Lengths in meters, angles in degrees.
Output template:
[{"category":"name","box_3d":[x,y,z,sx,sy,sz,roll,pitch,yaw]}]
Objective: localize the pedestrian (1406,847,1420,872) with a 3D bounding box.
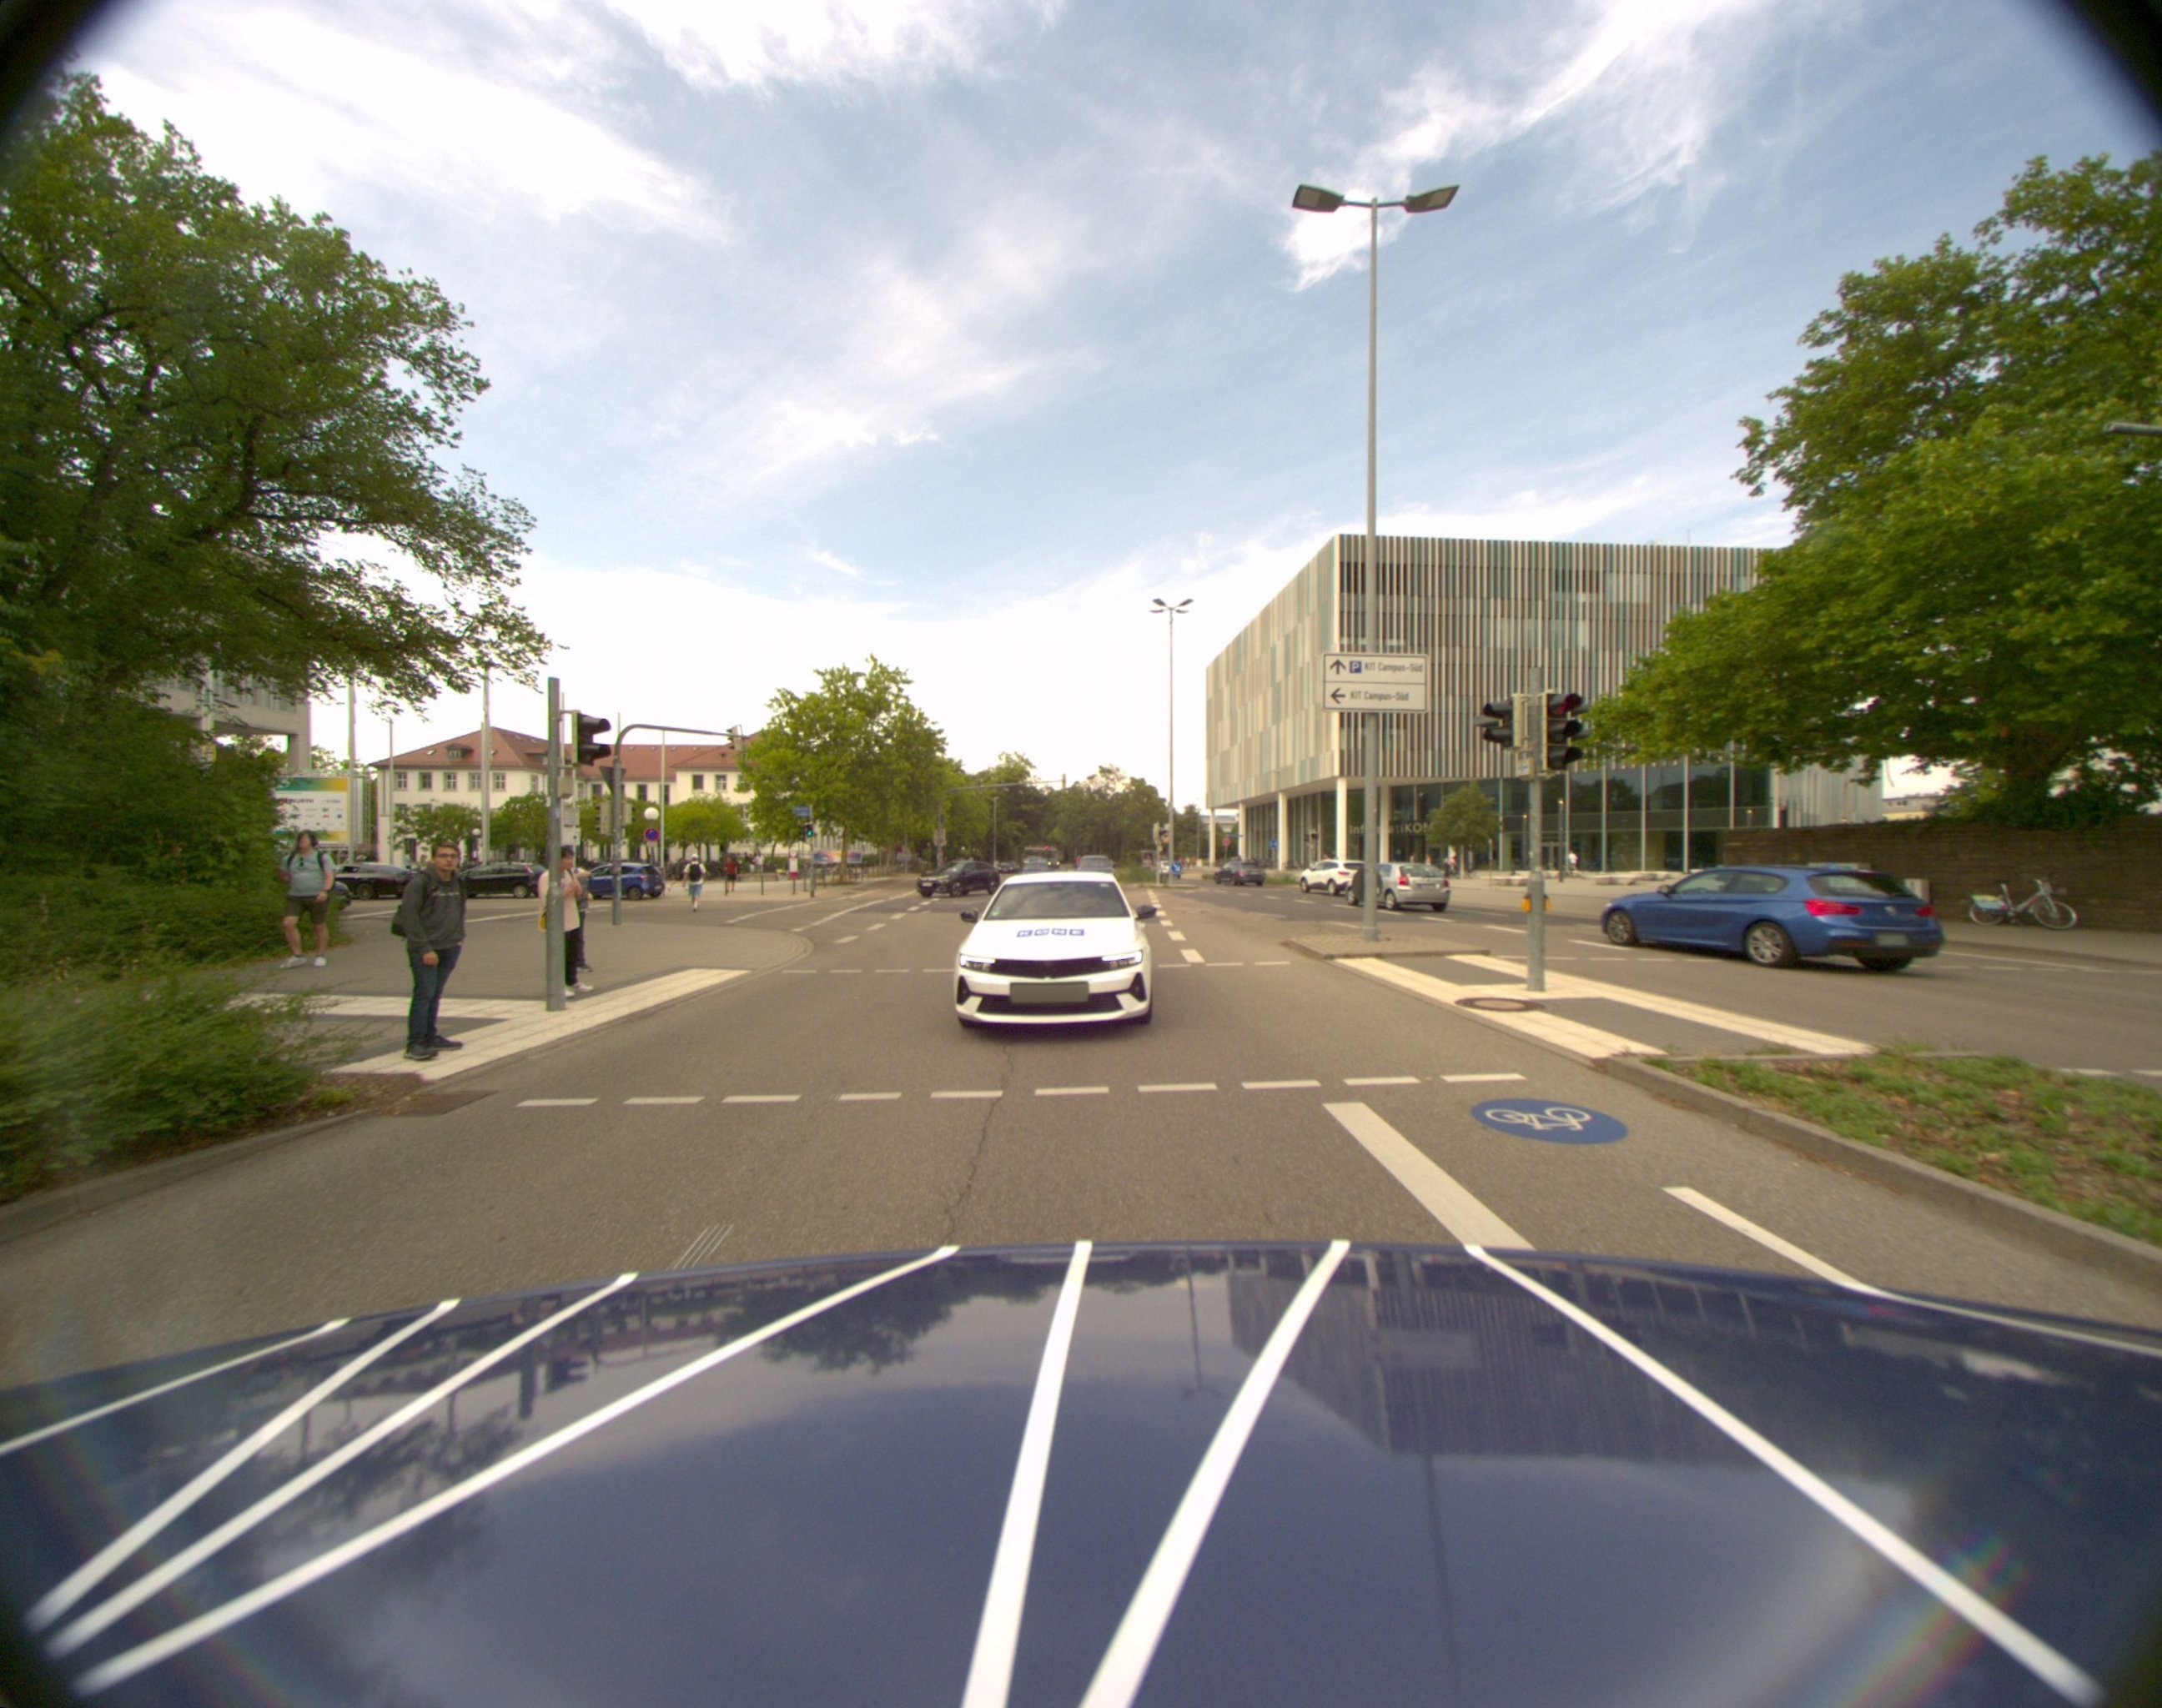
[{"category":"pedestrian","box_3d":[23.689,0.372,54.197,0.732,1.730,0.676,-1,1,-37]}]

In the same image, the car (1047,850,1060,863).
[{"category":"car","box_3d":[-4.130,0.332,115.298,1.840,2.002,3.999,0,0,-1]}]

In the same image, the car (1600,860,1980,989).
[{"category":"car","box_3d":[10.123,0.886,11.390,1.806,1.503,4.103,0,1,-1]}]

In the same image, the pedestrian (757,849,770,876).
[{"category":"pedestrian","box_3d":[-23.126,0.619,55.329,0.687,1.952,0.601,-2,1,-43]}]

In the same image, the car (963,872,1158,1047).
[{"category":"car","box_3d":[-0.343,0.997,9.197,1.745,1.430,4.780,0,0,-4]}]

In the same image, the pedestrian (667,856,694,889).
[{"category":"pedestrian","box_3d":[-20.767,0.962,39.386,0.953,1.698,0.702,-1,1,15]}]

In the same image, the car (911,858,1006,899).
[{"category":"car","box_3d":[-5.196,1.013,32.859,1.800,1.547,4.183,-1,1,29]}]

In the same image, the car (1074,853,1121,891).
[{"category":"car","box_3d":[0.699,0.802,35.943,1.905,1.639,4.644,-1,0,-2]}]

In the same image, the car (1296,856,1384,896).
[{"category":"car","box_3d":[11.554,0.918,34.210,1.870,1.642,4.418,0,0,-10]}]

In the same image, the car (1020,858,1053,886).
[{"category":"car","box_3d":[-2.463,0.960,41.885,1.704,1.485,3.830,0,0,-4]}]

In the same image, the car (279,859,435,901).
[{"category":"car","box_3d":[-28.962,1.033,30.505,4.451,1.558,1.673,0,1,-4]}]

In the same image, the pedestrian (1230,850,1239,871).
[{"category":"pedestrian","box_3d":[13.097,0.550,64.803,0.512,1.826,0.772,0,0,-4]}]

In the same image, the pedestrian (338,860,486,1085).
[{"category":"pedestrian","box_3d":[-5.399,0.913,6.174,0.603,1.725,0.654,0,1,-3]}]

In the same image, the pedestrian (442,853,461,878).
[{"category":"pedestrian","box_3d":[-39.871,0.730,48.141,0.728,1.587,0.601,-2,1,-16]}]

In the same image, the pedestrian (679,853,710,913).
[{"category":"pedestrian","box_3d":[-12.125,0.896,23.881,0.647,1.842,0.828,-2,1,-15]}]

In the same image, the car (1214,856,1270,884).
[{"category":"car","box_3d":[9.725,0.940,46.216,1.903,1.606,4.741,0,0,-7]}]

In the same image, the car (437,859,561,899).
[{"category":"car","box_3d":[-23.869,1.001,31.273,3.694,1.558,1.673,0,1,-4]}]

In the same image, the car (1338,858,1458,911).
[{"category":"car","box_3d":[9.791,0.877,23.852,1.807,1.480,4.287,0,0,-3]}]

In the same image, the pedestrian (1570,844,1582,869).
[{"category":"pedestrian","box_3d":[35.732,0.195,54.877,0.635,1.768,0.598,0,1,42]}]

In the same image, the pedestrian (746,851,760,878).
[{"category":"pedestrian","box_3d":[-23.624,0.745,54.770,0.687,1.952,0.601,-2,1,-43]}]

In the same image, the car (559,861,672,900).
[{"category":"car","box_3d":[-19.172,1.059,31.399,3.581,1.483,1.673,0,1,-4]}]

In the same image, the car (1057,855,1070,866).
[{"category":"car","box_3d":[-2.695,0.937,115.568,1.661,1.455,3.998,7,0,-3]}]

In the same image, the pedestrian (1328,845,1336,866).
[{"category":"pedestrian","box_3d":[24.354,0.111,73.663,0.512,2.031,0.624,0,0,-5]}]

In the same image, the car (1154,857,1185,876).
[{"category":"car","box_3d":[7.233,0.993,62.683,1.766,1.480,4.544,0,0,-3]}]

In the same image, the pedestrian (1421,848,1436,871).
[{"category":"pedestrian","box_3d":[24.461,0.399,53.503,0.731,1.591,0.677,-1,1,-34]}]

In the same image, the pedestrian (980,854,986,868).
[{"category":"pedestrian","box_3d":[-13.914,1.008,107.379,0.798,1.922,0.760,0,1,-4]}]

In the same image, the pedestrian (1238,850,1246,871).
[{"category":"pedestrian","box_3d":[13.709,0.551,64.855,0.512,1.826,0.624,0,0,-4]}]

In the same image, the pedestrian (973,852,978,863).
[{"category":"pedestrian","box_3d":[-14.864,0.498,107.047,0.646,1.556,0.804,0,1,-5]}]

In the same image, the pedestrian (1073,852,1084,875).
[{"category":"pedestrian","box_3d":[-0.198,0.729,59.273,0.727,1.843,1.064,0,1,-6]}]

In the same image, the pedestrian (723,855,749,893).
[{"category":"pedestrian","box_3d":[-16.664,0.939,36.671,0.769,1.794,0.891,-2,1,1]}]

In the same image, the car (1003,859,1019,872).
[{"category":"car","box_3d":[-7.638,1.215,83.038,1.704,1.361,3.830,0,0,-4]}]

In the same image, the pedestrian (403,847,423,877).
[{"category":"pedestrian","box_3d":[-41.778,0.502,47.539,0.728,1.833,0.601,-2,1,-18]}]
